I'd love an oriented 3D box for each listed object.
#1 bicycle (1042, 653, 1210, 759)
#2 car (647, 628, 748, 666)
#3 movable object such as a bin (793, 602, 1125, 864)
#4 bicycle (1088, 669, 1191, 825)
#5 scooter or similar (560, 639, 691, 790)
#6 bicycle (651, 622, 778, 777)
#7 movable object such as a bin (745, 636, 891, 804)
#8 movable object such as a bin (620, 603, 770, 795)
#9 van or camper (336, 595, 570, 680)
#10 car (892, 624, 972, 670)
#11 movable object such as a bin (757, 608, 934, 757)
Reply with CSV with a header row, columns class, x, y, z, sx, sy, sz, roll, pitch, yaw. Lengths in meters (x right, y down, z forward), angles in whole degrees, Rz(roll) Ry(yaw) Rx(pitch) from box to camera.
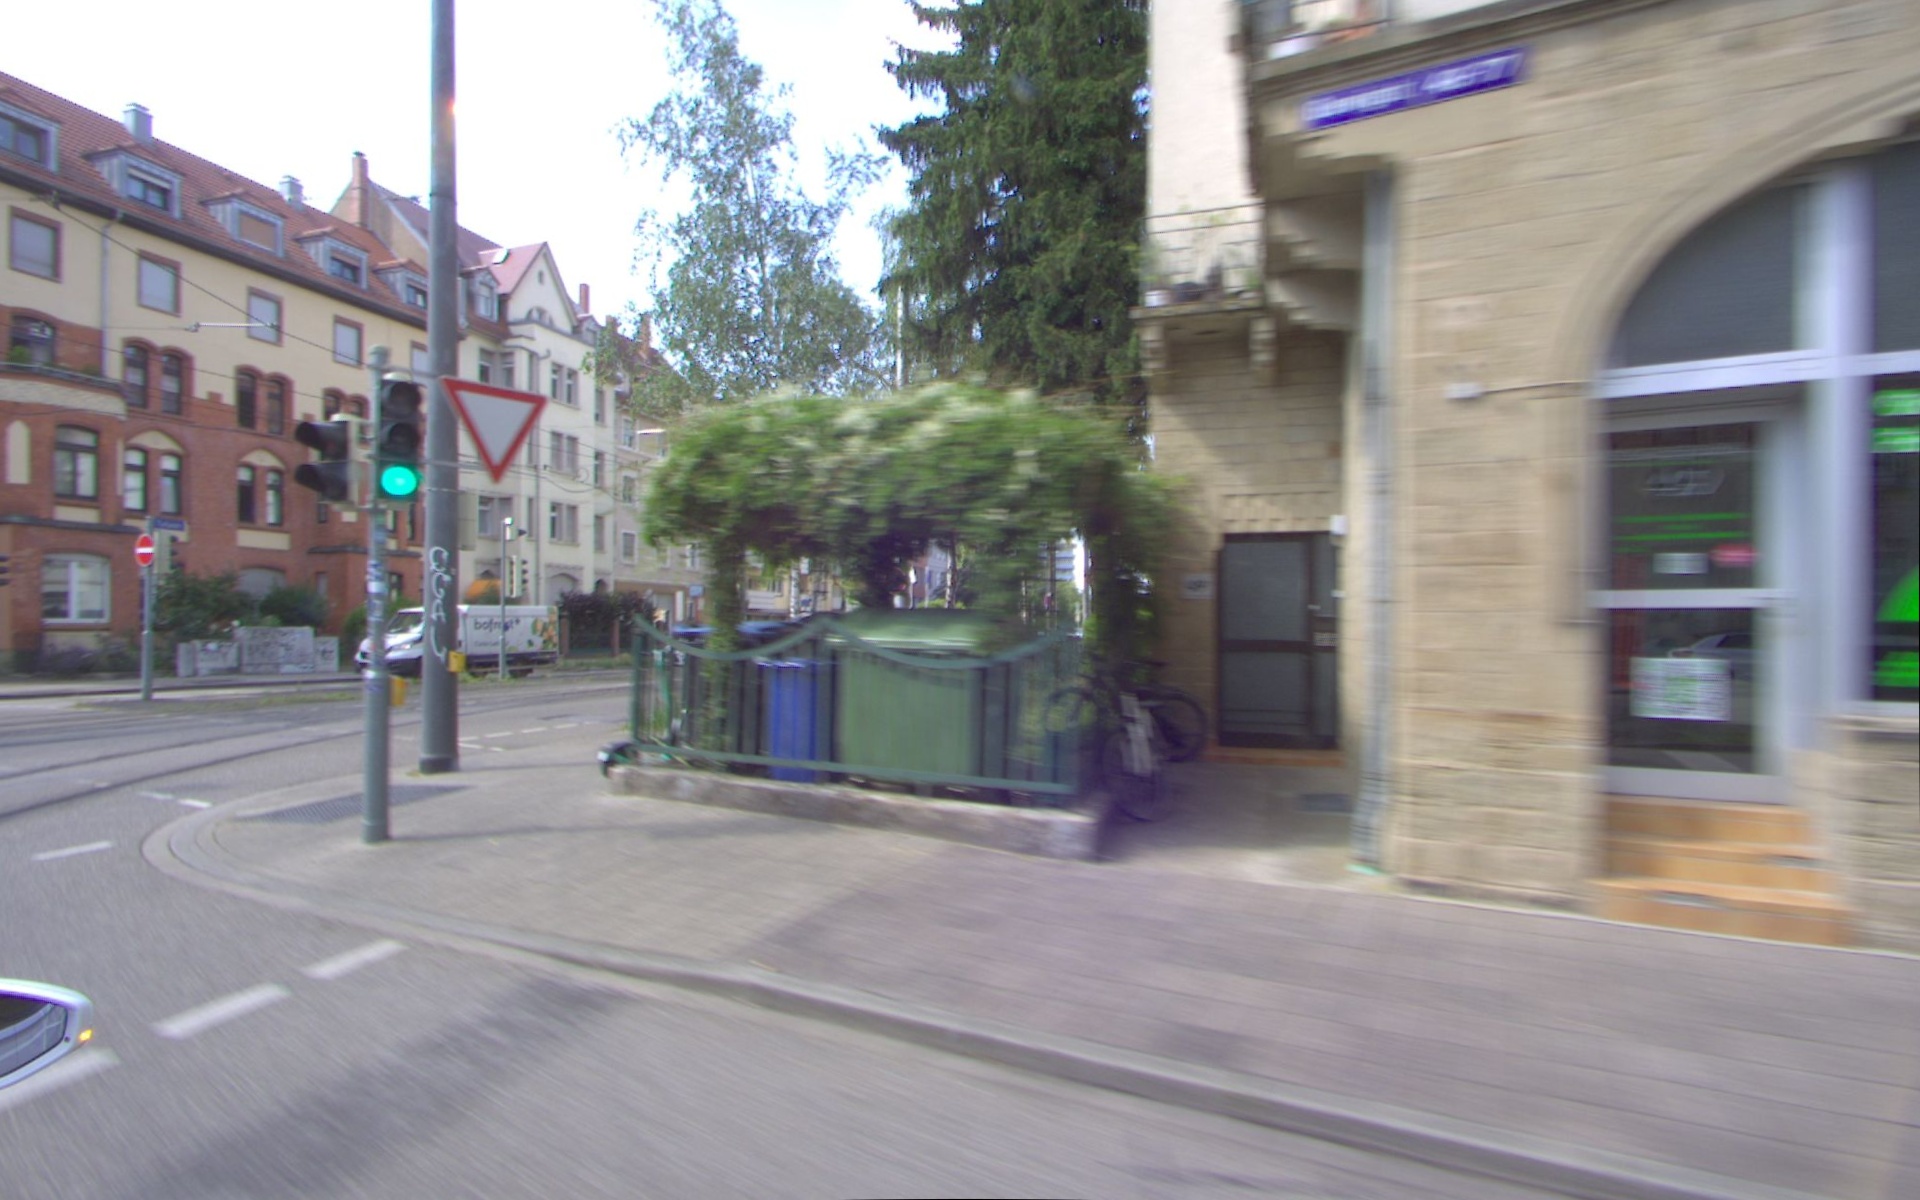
class,x,y,z,sx,sy,sz,roll,pitch,yaw
bicycle,1.753,1.091,10.585,1.689,1.013,0.510,0,0,22
car,-10.663,1.887,40.966,1.903,1.458,4.009,0,-1,24
movable object such as a bin,-0.020,0.805,6.938,2.069,1.560,1.048,0,0,31
bicycle,1.493,1.116,8.124,0.502,1.013,1.843,0,-1,20
scooter or similar,-2.980,0.979,9.018,0.455,1.233,1.195,0,0,22
bicycle,-2.320,0.891,9.674,0.272,1.346,1.830,0,0,18
movable object such as a bin,-1.097,0.895,7.897,0.649,1.190,1.026,0,0,30
movable object such as a bin,-2.173,0.776,8.261,0.965,1.491,0.715,0,0,20
van or camper,-15.052,1.097,30.333,2.209,2.282,6.532,0,-1,21
car,-1.029,1.772,38.785,1.872,1.595,3.806,2,0,19
movable object such as a bin,-1.168,0.809,10.780,1.035,1.431,2.095,0,0,22
